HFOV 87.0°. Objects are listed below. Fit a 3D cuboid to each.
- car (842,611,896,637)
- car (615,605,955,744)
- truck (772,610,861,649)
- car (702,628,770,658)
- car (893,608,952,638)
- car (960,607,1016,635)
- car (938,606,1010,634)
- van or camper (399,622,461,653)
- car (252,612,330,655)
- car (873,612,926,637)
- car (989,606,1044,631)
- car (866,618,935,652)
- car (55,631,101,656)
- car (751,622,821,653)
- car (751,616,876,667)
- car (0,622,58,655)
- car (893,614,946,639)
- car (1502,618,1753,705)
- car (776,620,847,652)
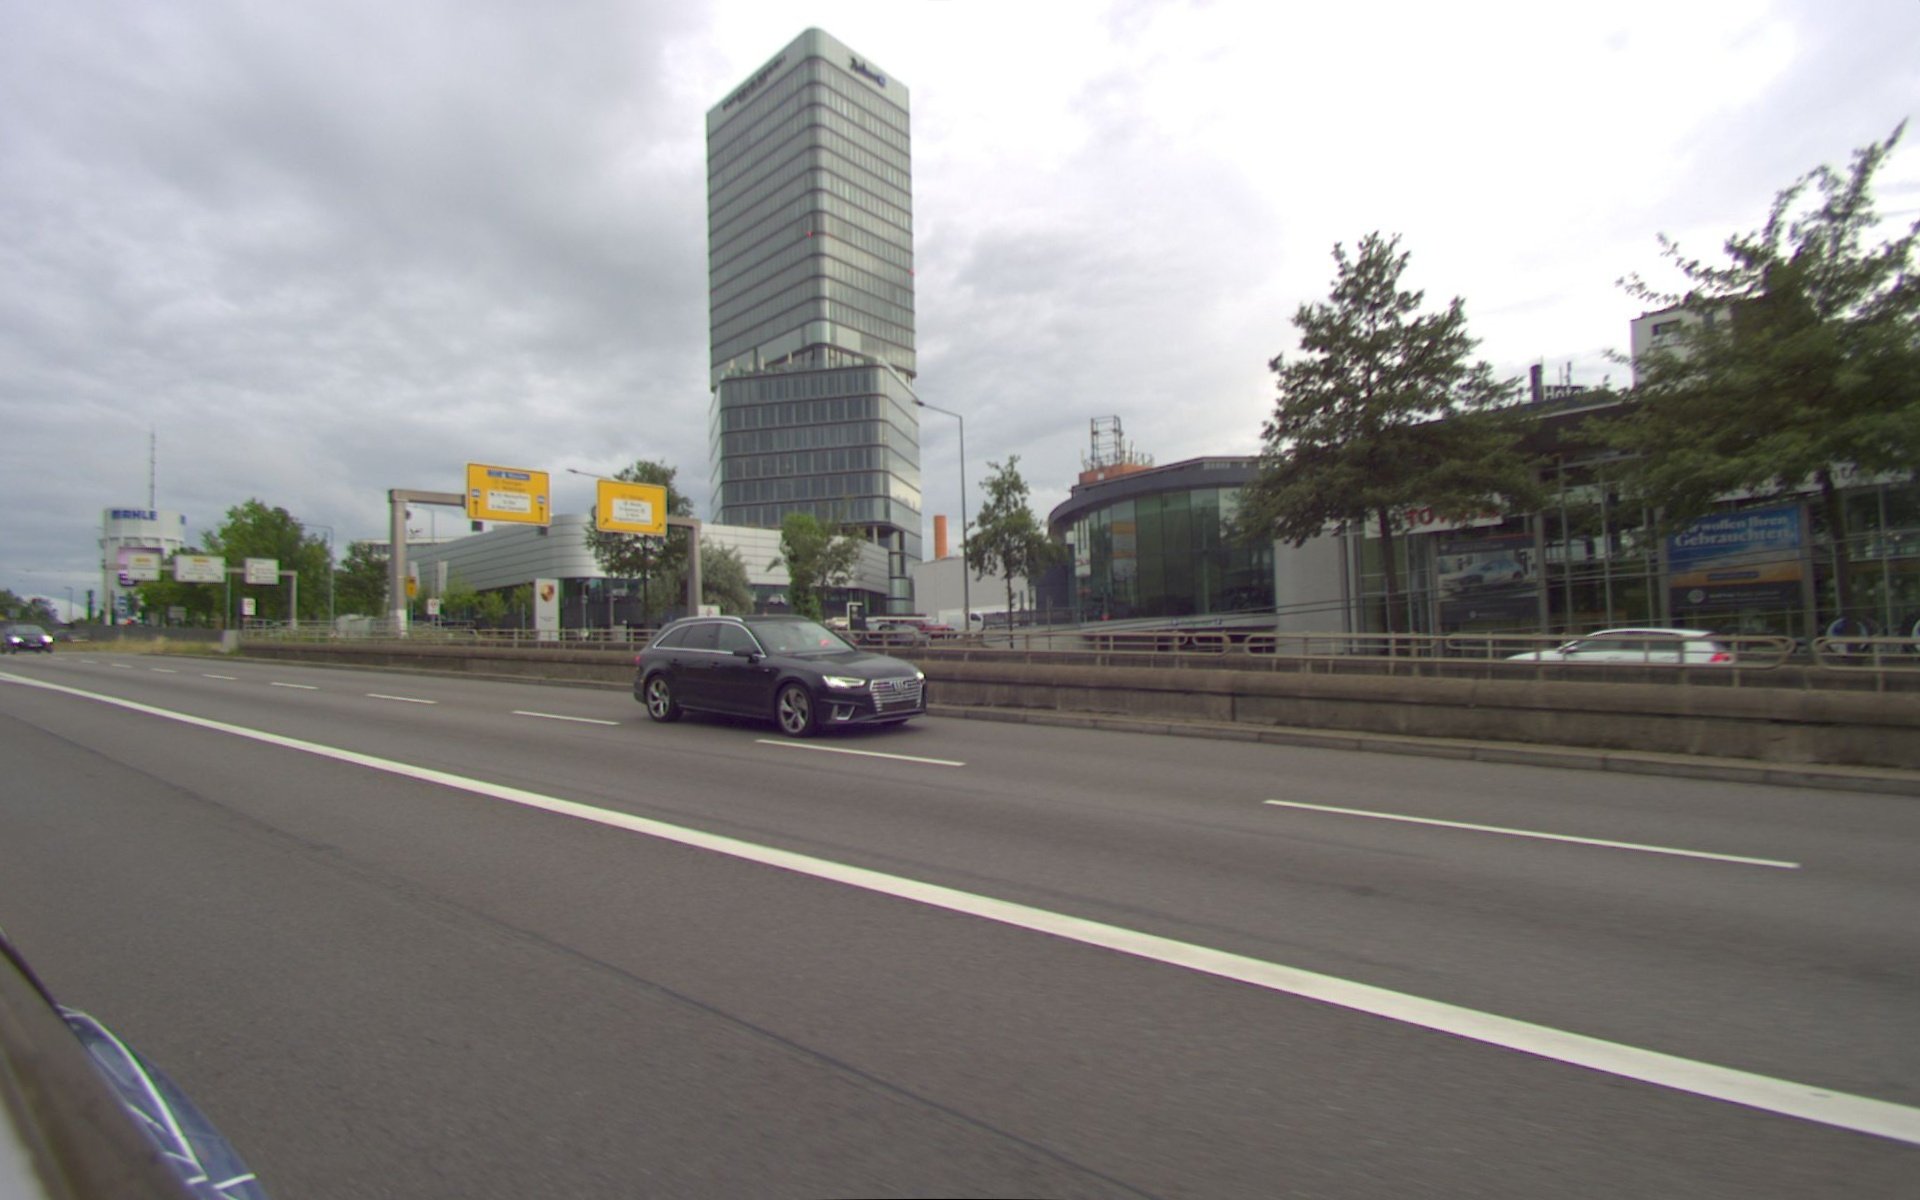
[{"bbox_3d":[-6.923,1.843,76.484,1.895,1.696,4.003,-2,-2,-44],"label":"car"},{"bbox_3d":[-2.384,0.829,12.965,4.630,1.430,1.791,-1,0,42],"label":"car"},{"bbox_3d":[-10.794,2.243,75.748,7.411,2.547,2.340,-5,-2,43],"label":"truck"},{"bbox_3d":[-14.782,2.816,66.798,1.922,1.696,3.945,-5,-2,41],"label":"car"},{"bbox_3d":[-2.672,1.618,70.689,1.879,1.896,4.003,-2,-2,-43],"label":"car"},{"bbox_3d":[2.102,1.595,77.066,1.970,1.896,4.003,-2,-2,-43],"label":"car"},{"bbox_3d":[1.021,1.522,74.772,1.970,1.896,5.541,-2,-1,-43],"label":"car"},{"bbox_3d":[-32.606,2.300,62.245,3.941,1.670,1.847,-5,-2,37],"label":"van or camper"},{"bbox_3d":[-28.005,1.407,42.339,3.544,1.602,1.671,-5,-2,39],"label":"car"},{"bbox_3d":[-4.729,1.880,78.305,1.895,1.696,4.003,-2,-2,-44],"label":"car"},{"bbox_3d":[4.354,1.429,78.457,1.895,1.696,4.003,-2,-2,-44],"label":"car"},{"bbox_3d":[-3.366,1.964,56.324,1.891,1.696,4.515,-2,-2,-31],"label":"car"},{"bbox_3d":[-70.565,3.445,80.986,4.622,1.843,1.794,-1,0,36],"label":"car"},{"bbox_3d":[-10.937,2.337,63.666,1.922,1.696,3.945,-5,-2,41],"label":"car"},{"bbox_3d":[-4.894,1.337,33.624,3.997,1.597,1.973,-1,-2,40],"label":"car"},{"bbox_3d":[-49.441,2.023,53.646,3.996,1.644,1.849,-1,-1,39],"label":"car"},{"bbox_3d":[-3.230,2.116,79.841,1.895,1.696,4.003,-2,-2,-44],"label":"car"},{"bbox_3d":[13.621,1.194,20.783,4.001,1.597,1.971,-1,-2,44],"label":"car"},{"bbox_3d":[-9.066,2.180,62.137,1.922,1.696,3.945,-5,-2,41],"label":"car"}]
